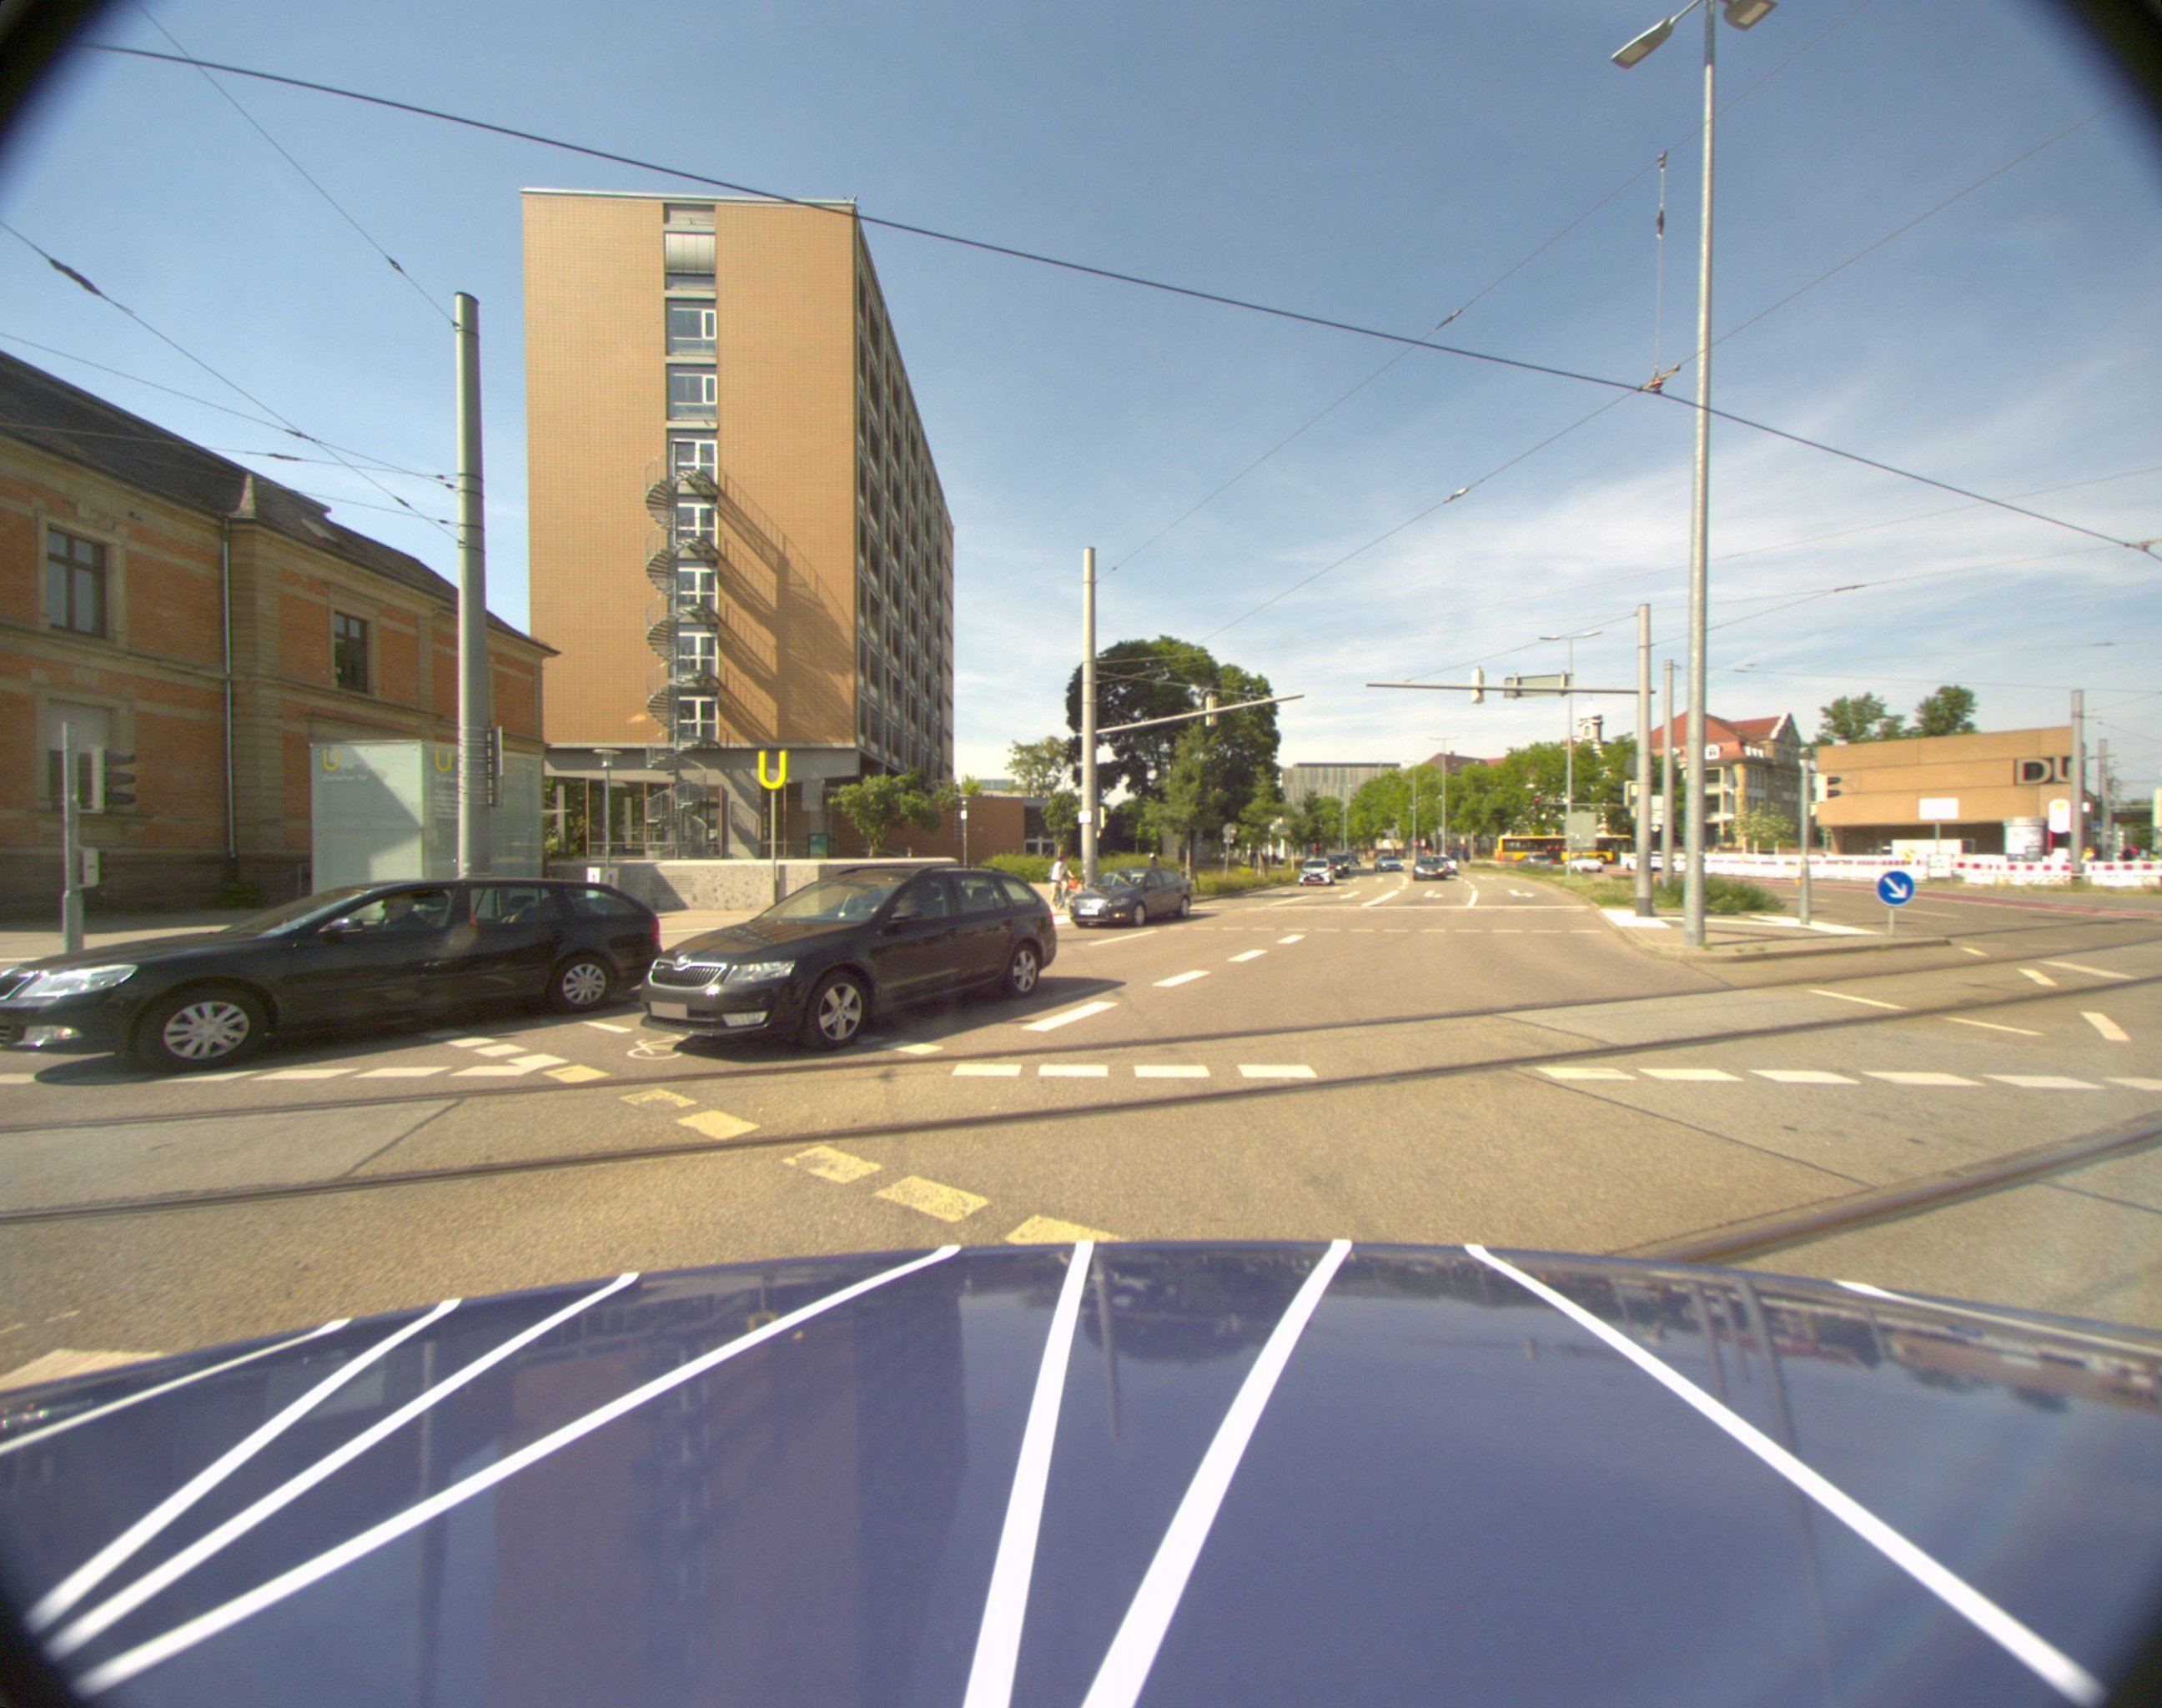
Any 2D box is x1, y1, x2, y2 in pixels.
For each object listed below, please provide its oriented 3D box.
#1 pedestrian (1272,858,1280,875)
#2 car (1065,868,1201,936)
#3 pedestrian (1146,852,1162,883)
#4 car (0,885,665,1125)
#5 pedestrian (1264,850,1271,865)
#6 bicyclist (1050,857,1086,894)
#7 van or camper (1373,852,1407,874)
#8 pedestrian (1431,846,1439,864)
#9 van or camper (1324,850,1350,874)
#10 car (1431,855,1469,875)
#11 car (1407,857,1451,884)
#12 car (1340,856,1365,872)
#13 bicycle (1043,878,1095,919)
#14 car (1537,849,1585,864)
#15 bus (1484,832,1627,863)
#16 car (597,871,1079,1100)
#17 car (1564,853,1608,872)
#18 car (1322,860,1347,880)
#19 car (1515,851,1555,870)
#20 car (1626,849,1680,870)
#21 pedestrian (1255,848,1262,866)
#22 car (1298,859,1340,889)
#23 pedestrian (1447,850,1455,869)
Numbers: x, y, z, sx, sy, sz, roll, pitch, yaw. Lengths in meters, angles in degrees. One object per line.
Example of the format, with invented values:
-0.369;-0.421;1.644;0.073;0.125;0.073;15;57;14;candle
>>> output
19.096;1.202;74.320;0.642;1.664;0.753;2;2;25;pedestrian
1.513;1.173;19.960;1.631;1.427;4.537;-1;0;31;car
3.969;0.734;41.156;0.591;1.655;0.733;2;2;28;pedestrian
-6.511;1.046;7.044;1.701;1.421;4.407;0;-1;30;car
18.308;0.297;74.557;0.643;1.438;0.569;1;2;7;pedestrian
-0.395;0.620;22.498;0.717;1.023;0.914;0;3;-28;bicyclist
27.320;0.736;67.292;1.917;1.877;4.927;0;0;12;van or camper
31.343;0.088;67.270;0.540;1.664;0.753;0;1;28;pedestrian
21.618;0.668;64.256;1.727;1.876;4.928;-2;0;16;van or camper
25.833;0.751;53.332;1.489;1.286;3.489;-2;0;10;car
20.571;0.968;45.069;1.648;1.416;4.125;-2;0;15;car
31.256;1.147;87.528;1.962;1.783;4.002;0;0;8;car
-0.371;1.291;22.469;0.717;1.009;1.913;0;2;-28;bicycle
52.482;0.267;83.213;4.105;1.435;1.762;-2;0;17;car
48.550;-0.598;78.203;12.121;3.021;2.801;0;0;19;bus
-1.890;0.945;7.615;1.631;1.427;4.788;0;0;29;car
36.541;0.603;55.071;1.596;1.279;4.005;-2;0;17;car
17.633;1.095;52.837;1.406;1.287;3.586;0;0;22;car
33.929;0.449;56.835;1.596;1.279;4.005;-2;0;17;car
41.403;0.395;55.098;1.800;1.412;4.005;-2;0;17;car
17.442;0.321;74.638;0.643;1.754;0.475;1;2;7;pedestrian
13.096;1.068;41.682;1.679;1.466;3.766;-2;0;25;car
32.869;0.449;67.513;0.642;1.664;0.753;0;1;27;pedestrian
